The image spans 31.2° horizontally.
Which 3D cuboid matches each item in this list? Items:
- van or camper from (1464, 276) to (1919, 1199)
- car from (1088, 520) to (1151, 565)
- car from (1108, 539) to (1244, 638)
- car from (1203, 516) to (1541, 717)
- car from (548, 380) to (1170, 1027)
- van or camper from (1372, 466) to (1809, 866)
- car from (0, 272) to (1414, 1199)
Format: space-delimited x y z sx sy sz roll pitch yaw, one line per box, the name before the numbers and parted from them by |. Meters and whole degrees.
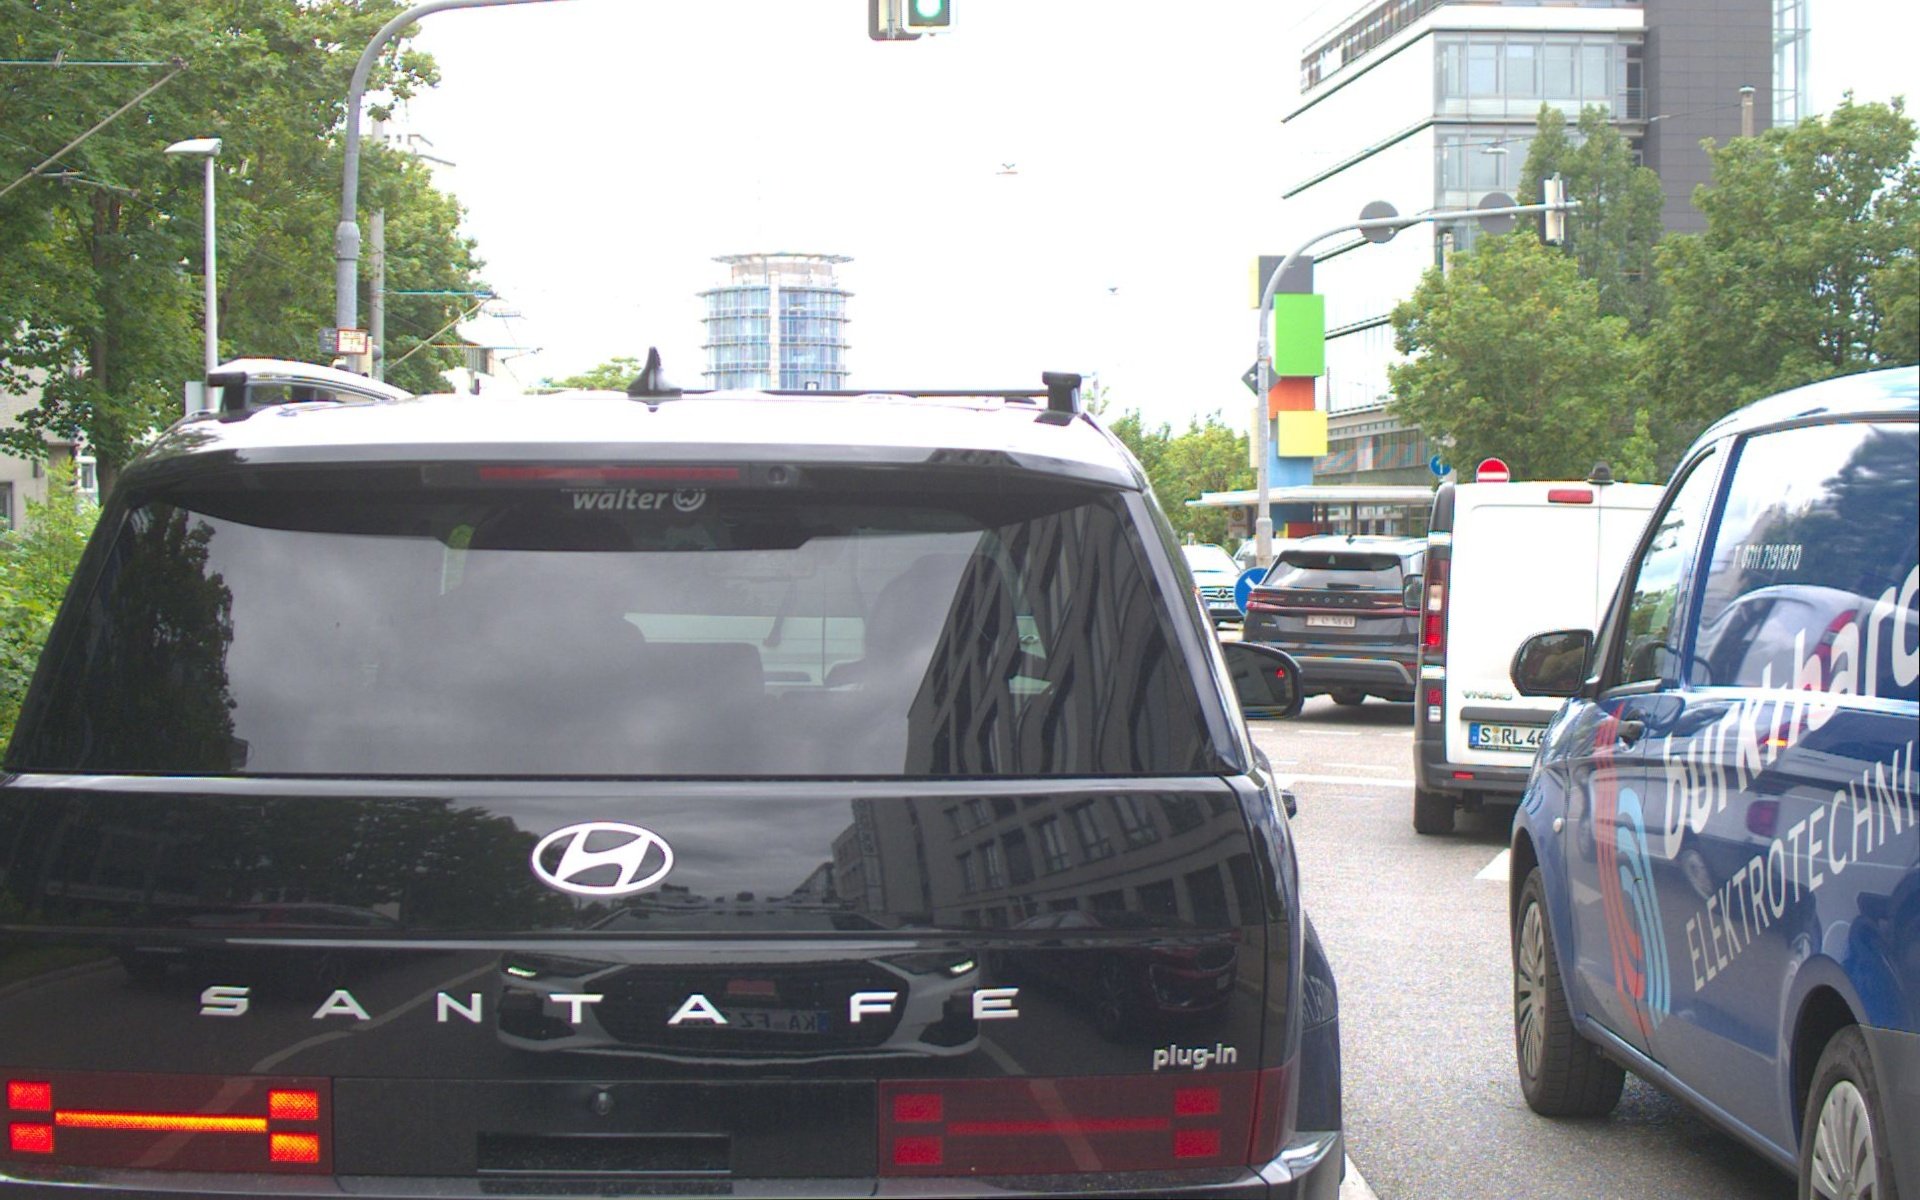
van or camper | 2.397 0.414 7.322 1.859 1.904 5.032 0 1 -1
car | 6.059 -2.170 130.622 1.993 1.678 4.000 0 0 -3
car | 3.653 -0.206 58.731 1.993 1.612 4.000 1 0 -1
car | 3.859 0.127 31.562 1.778 1.711 4.332 1 0 26
car | -0.335 0.287 12.566 1.915 1.996 3.880 0 1 -1
van or camper | 3.477 0.293 19.797 1.994 2.007 4.652 1 1 5
car | -0.455 0.486 5.722 1.869 1.754 3.880 0 1 -1
